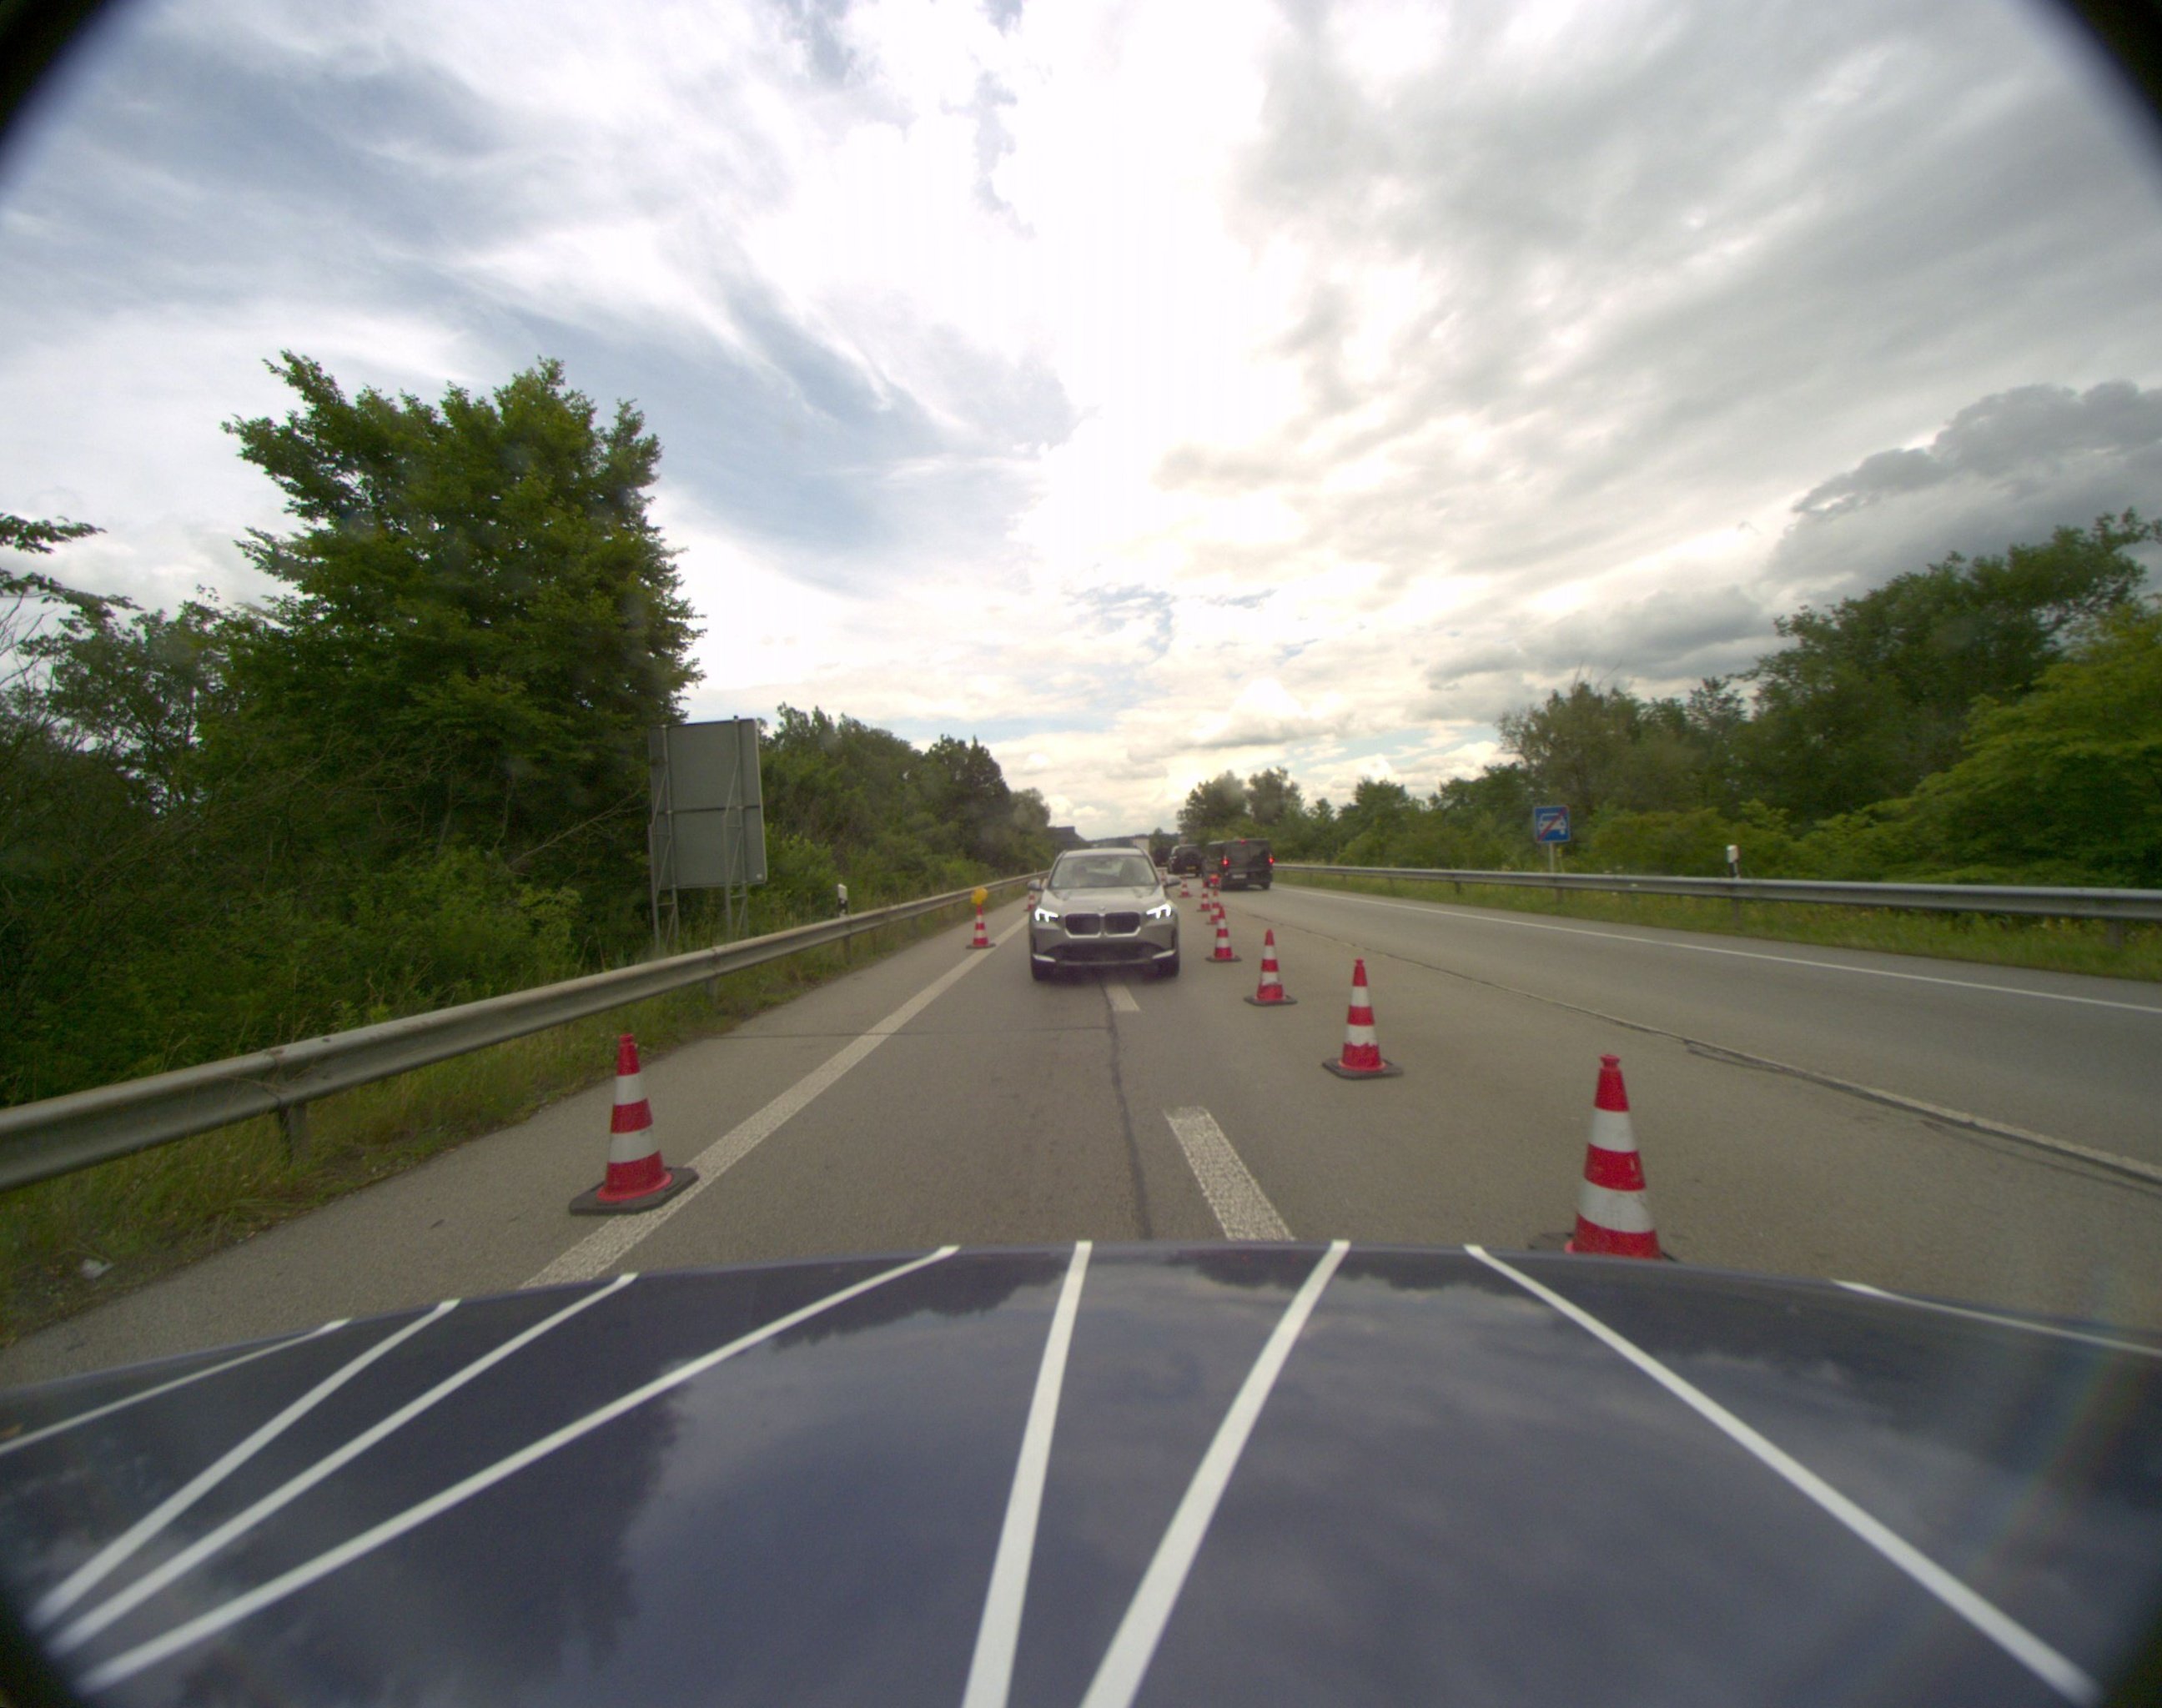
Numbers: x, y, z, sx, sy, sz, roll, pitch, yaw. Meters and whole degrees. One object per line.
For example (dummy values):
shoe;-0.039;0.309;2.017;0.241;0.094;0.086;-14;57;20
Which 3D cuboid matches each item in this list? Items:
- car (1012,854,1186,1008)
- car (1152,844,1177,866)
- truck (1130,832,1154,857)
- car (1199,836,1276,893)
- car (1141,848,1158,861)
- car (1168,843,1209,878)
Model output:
car;0.284;0.840;10.448;1.817;1.598;4.433;-2;0;2
car;7.546;0.100;68.932;1.929;1.820;4.533;-2;0;2
truck;9.598;-1.457;120.504;3.113;3.682;9.544;-2;0;2
car;6.062;0.365;30.101;2.034;1.976;5.316;-2;0;2
car;8.641;0.076;96.052;1.929;1.596;4.533;-2;0;2
car;6.366;0.364;45.372;1.971;1.873;4.533;-2;0;3
